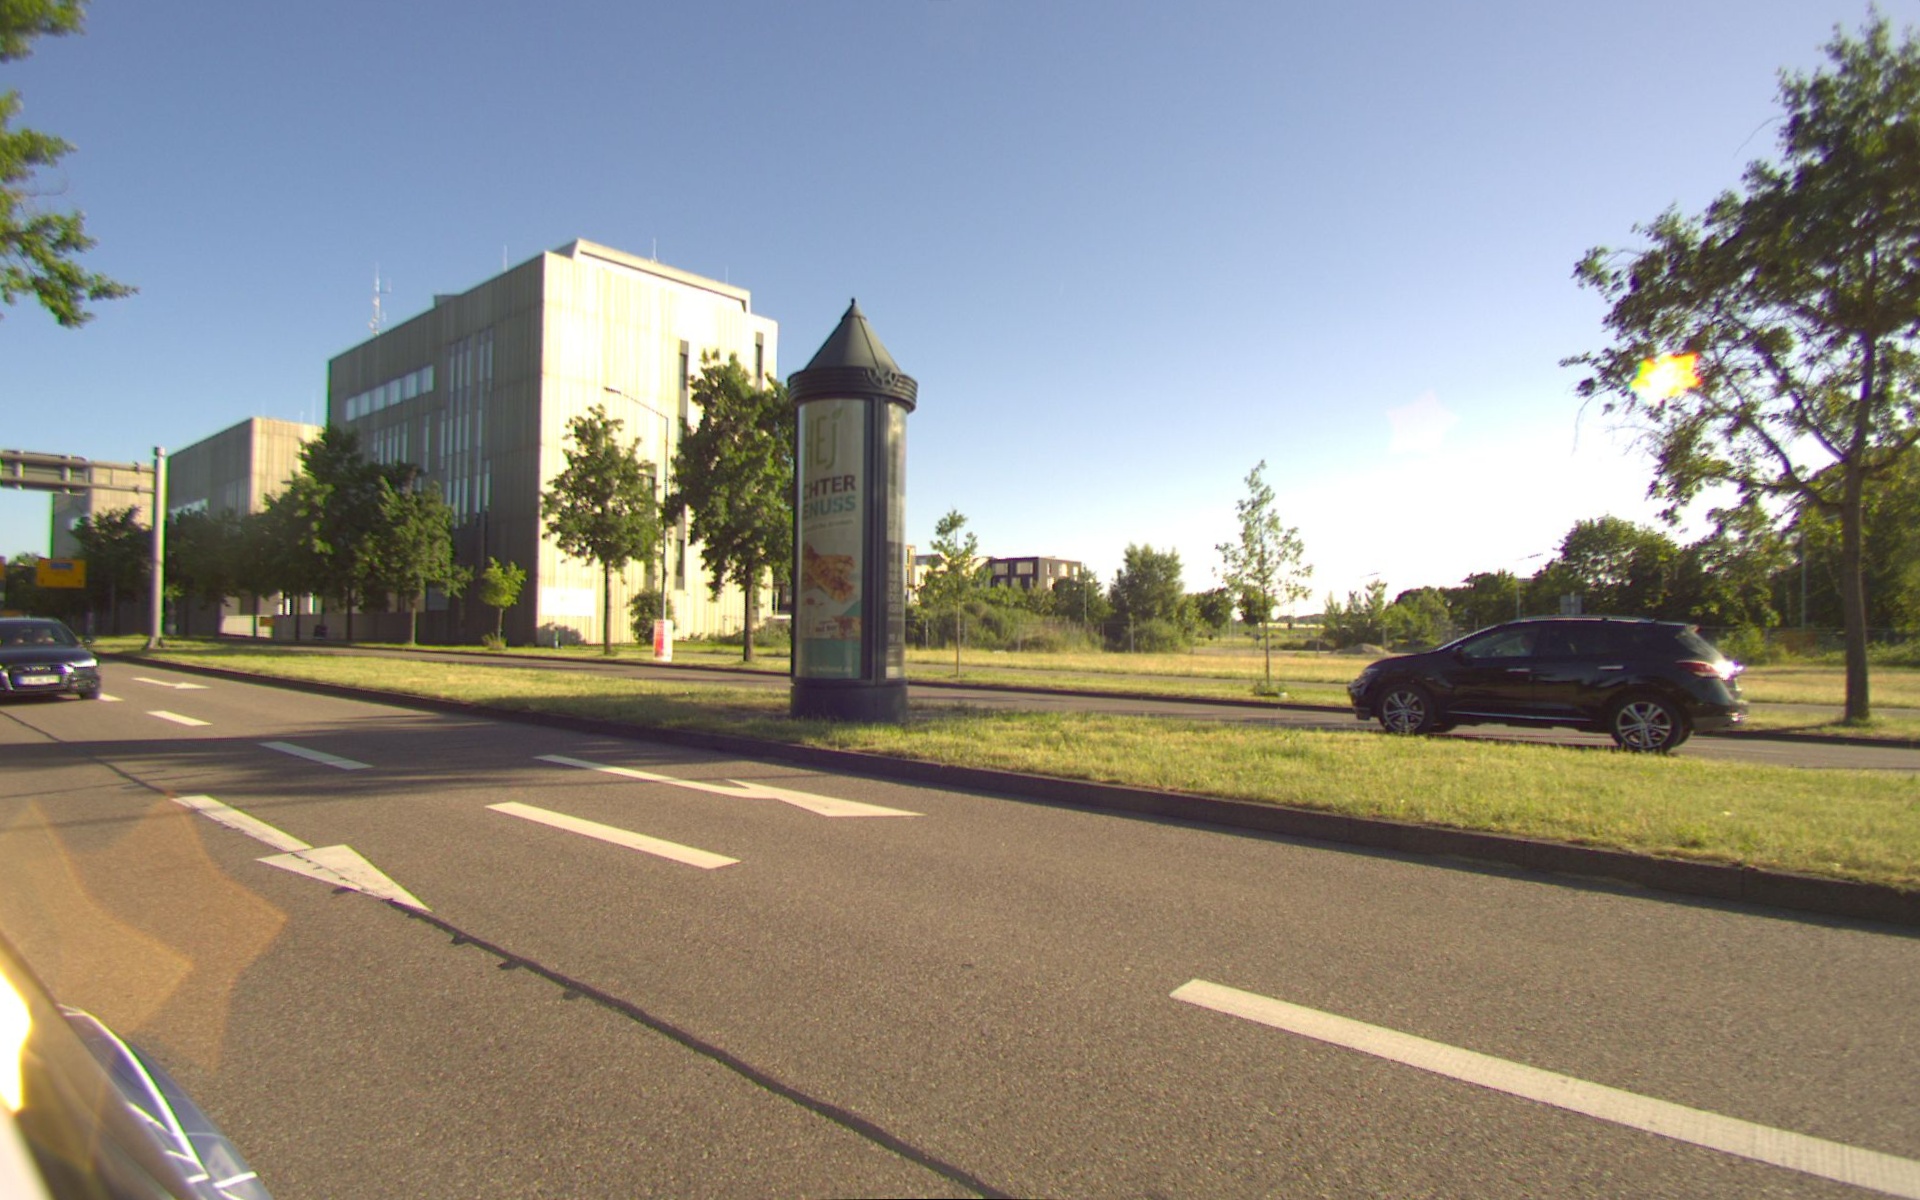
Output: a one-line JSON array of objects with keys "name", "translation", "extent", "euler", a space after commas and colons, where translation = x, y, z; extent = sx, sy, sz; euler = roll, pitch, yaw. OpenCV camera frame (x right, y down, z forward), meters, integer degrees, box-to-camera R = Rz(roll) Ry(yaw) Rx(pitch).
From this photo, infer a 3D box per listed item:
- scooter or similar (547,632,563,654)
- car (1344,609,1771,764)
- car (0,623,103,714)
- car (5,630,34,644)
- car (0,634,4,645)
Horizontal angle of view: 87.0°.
[{"name": "scooter or similar", "translation": [-21.032, 2.231, 52.522], "extent": [0.446, 1.118, 1.409], "euler": [2, -2, -35]}, {"name": "car", "translation": [7.955, 1.030, 13.763], "extent": [4.735, 1.752, 1.973], "euler": [-1, -2, 41]}, {"name": "car", "translation": [-17.027, 1.142, 18.134], "extent": [5.014, 1.454, 1.774], "euler": [-1, -2, 41]}, {"name": "car", "translation": [-105.801, 4.178, 113.865], "extent": [3.998, 1.590, 1.973], "euler": [-1, -3, 41]}, {"name": "car", "translation": [-146.804, 5.983, 153.622], "extent": [3.998, 1.604, 1.973], "euler": [-1, -3, 41]}]
